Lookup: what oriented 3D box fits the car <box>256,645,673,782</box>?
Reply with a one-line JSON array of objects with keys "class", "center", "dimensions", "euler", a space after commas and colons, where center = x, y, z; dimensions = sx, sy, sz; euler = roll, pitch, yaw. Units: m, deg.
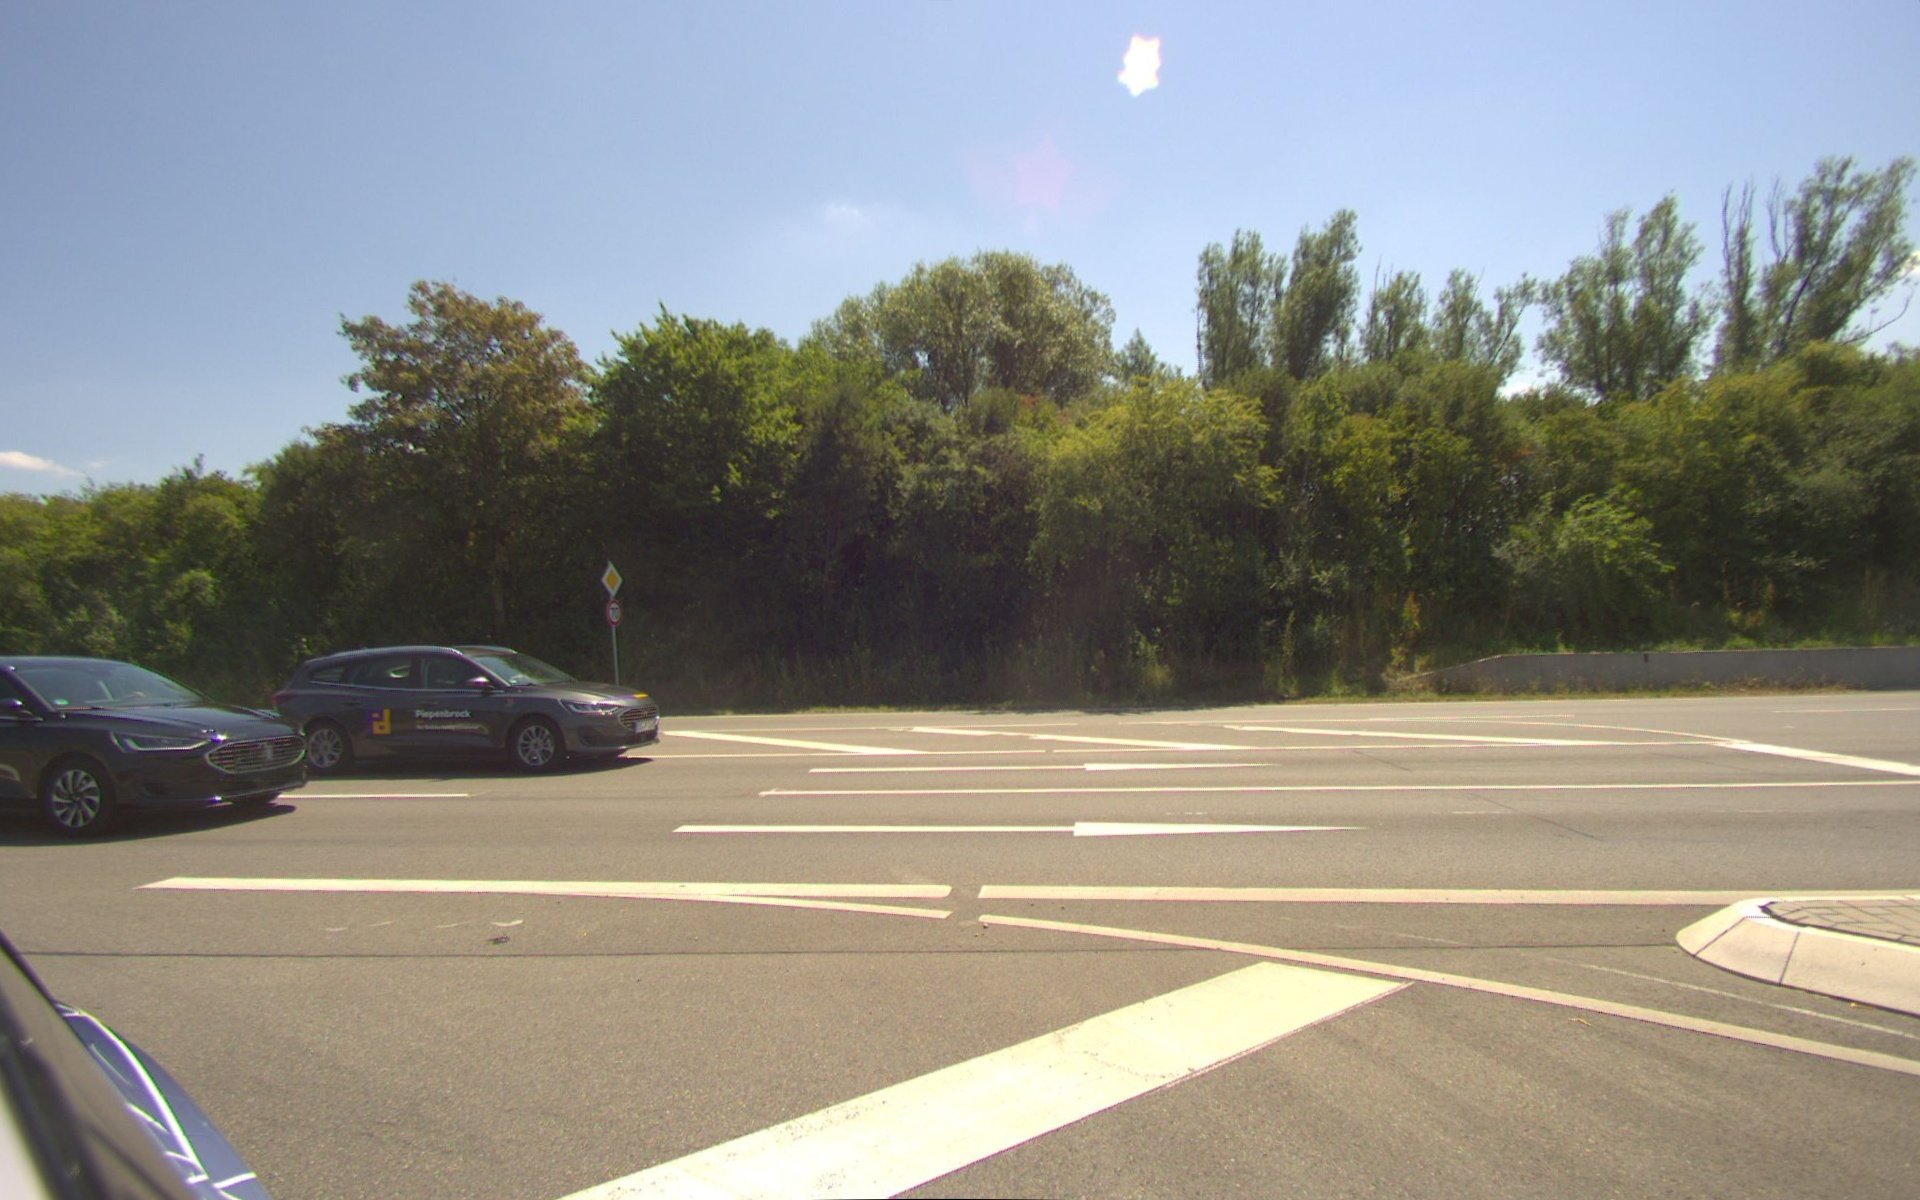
[{"class": "car", "center": [-5.863, 1.317, 12.158], "dimensions": [4.345, 1.453, 1.734], "euler": [-2, -2, 11]}]

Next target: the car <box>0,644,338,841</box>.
[{"class": "car", "center": [-7.962, 1.199, 8.838], "dimensions": [4.251, 1.453, 1.734], "euler": [-3, -3, 10]}]
